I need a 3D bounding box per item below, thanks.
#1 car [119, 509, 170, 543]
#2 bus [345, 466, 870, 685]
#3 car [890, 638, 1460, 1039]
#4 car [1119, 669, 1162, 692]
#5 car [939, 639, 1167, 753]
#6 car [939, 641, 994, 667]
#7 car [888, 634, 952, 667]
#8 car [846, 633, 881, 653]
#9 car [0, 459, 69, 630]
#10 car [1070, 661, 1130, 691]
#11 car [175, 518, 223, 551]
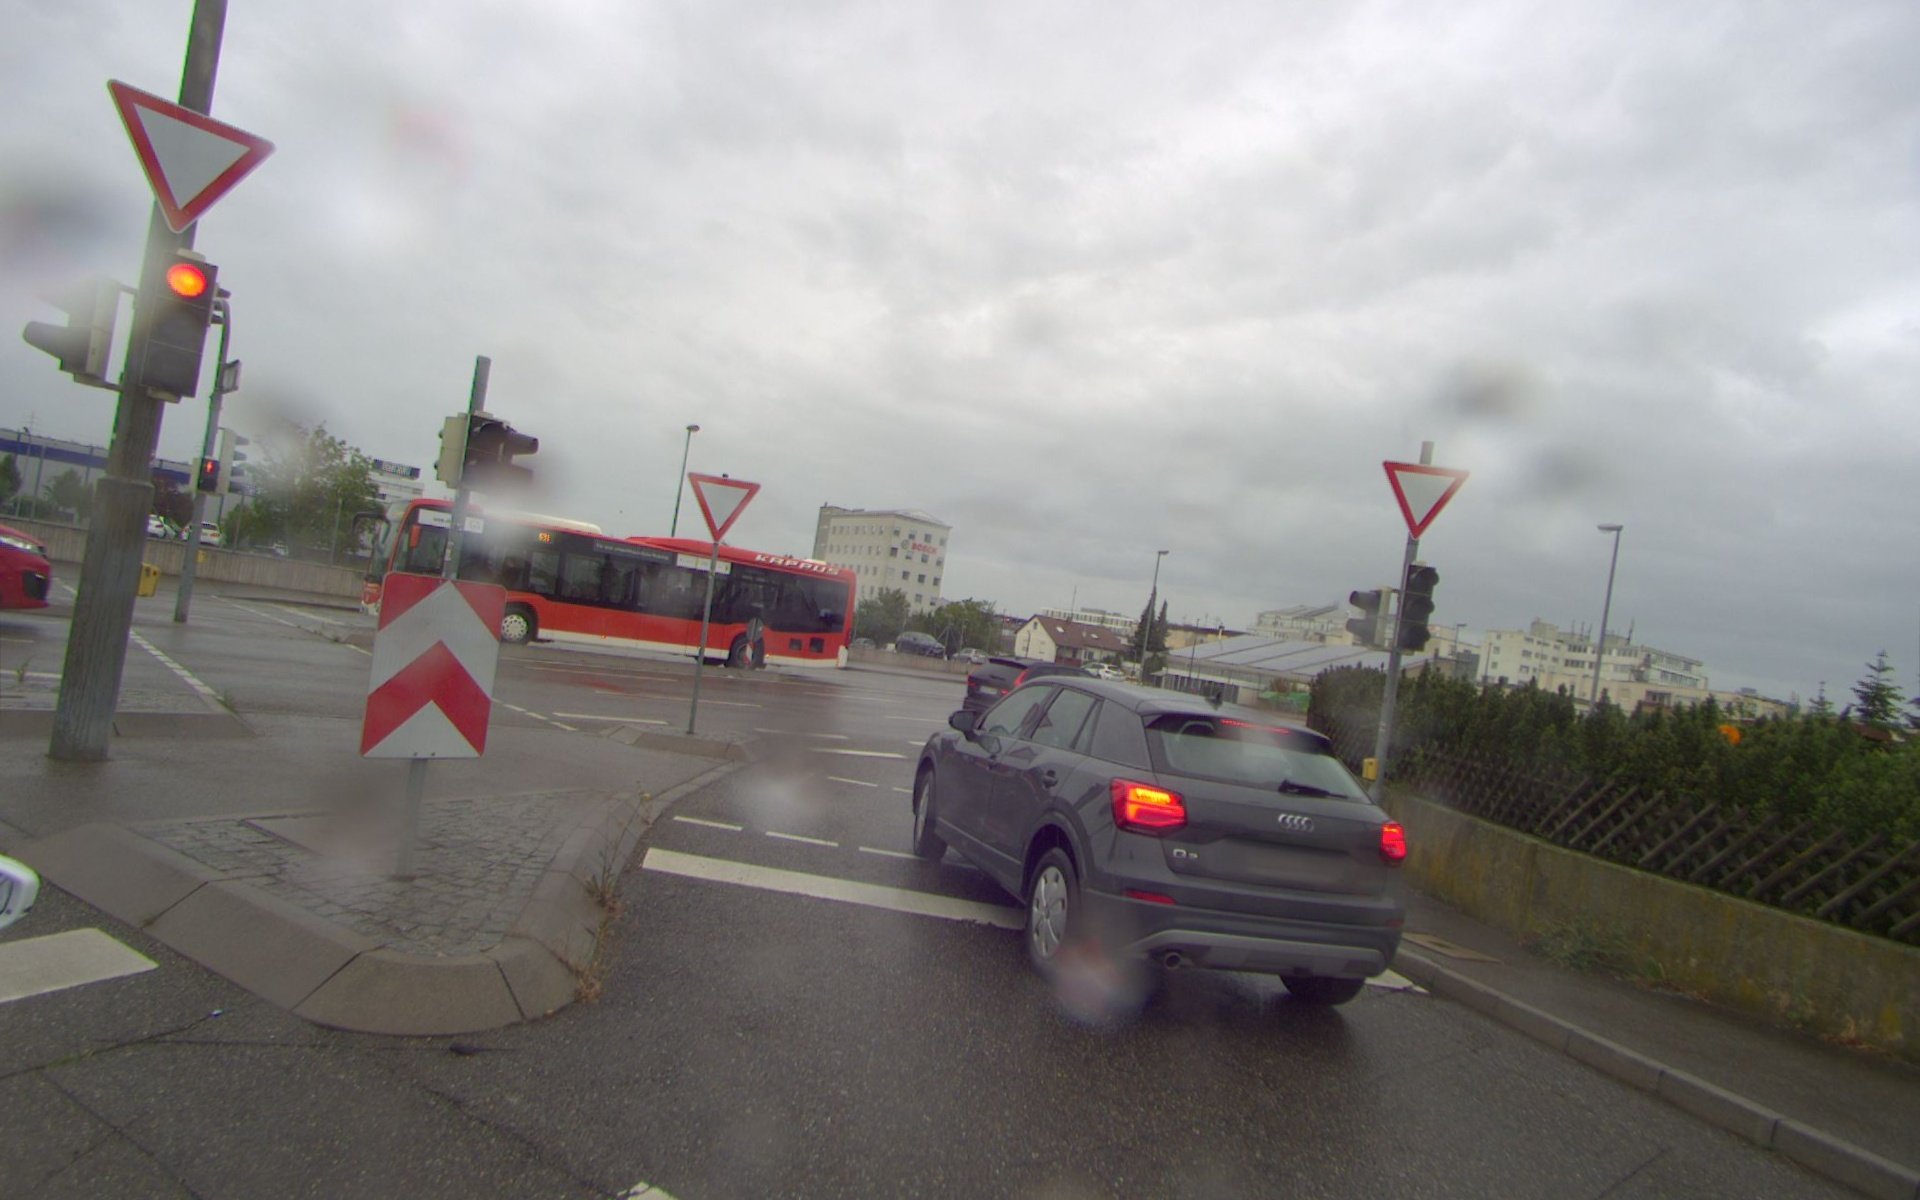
[{"bbox_3d":[-45.636,-4.126,56.361,1.985,1.495,3.959,10,-2,-38],"label":"car"},{"bbox_3d":[-8.316,-0.265,25.892,12.246,3.357,3.039,12,-3,-41],"label":"bus"},{"bbox_3d":[0.909,1.189,6.390,1.665,1.512,3.926,9,-2,-17],"label":"car"},{"bbox_3d":[17.967,8.020,100.114,3.760,1.771,1.887,9,-2,-29],"label":"car"},{"bbox_3d":[2.057,2.077,21.355,4.604,1.697,2.011,12,-3,-40],"label":"car"},{"bbox_3d":[0.521,4.379,82.233,3.951,1.494,1.989,9,-2,-24],"label":"car"},{"bbox_3d":[-2.493,3.095,61.963,1.983,1.494,3.964,10,-2,-34],"label":"car"},{"bbox_3d":[-9.664,4.263,100.410,1.979,1.494,3.971,9,-2,-29],"label":"car"},{"bbox_3d":[-13.644,-0.992,11.599,1.974,2.037,4.765,7,-2,44],"label":"car"},{"bbox_3d":[9.716,5.258,70.062,1.979,1.494,3.971,9,-2,-29],"label":"car"},{"bbox_3d":[-43.916,-3.799,58.030,1.986,1.495,3.958,10,-2,-38],"label":"car"}]
